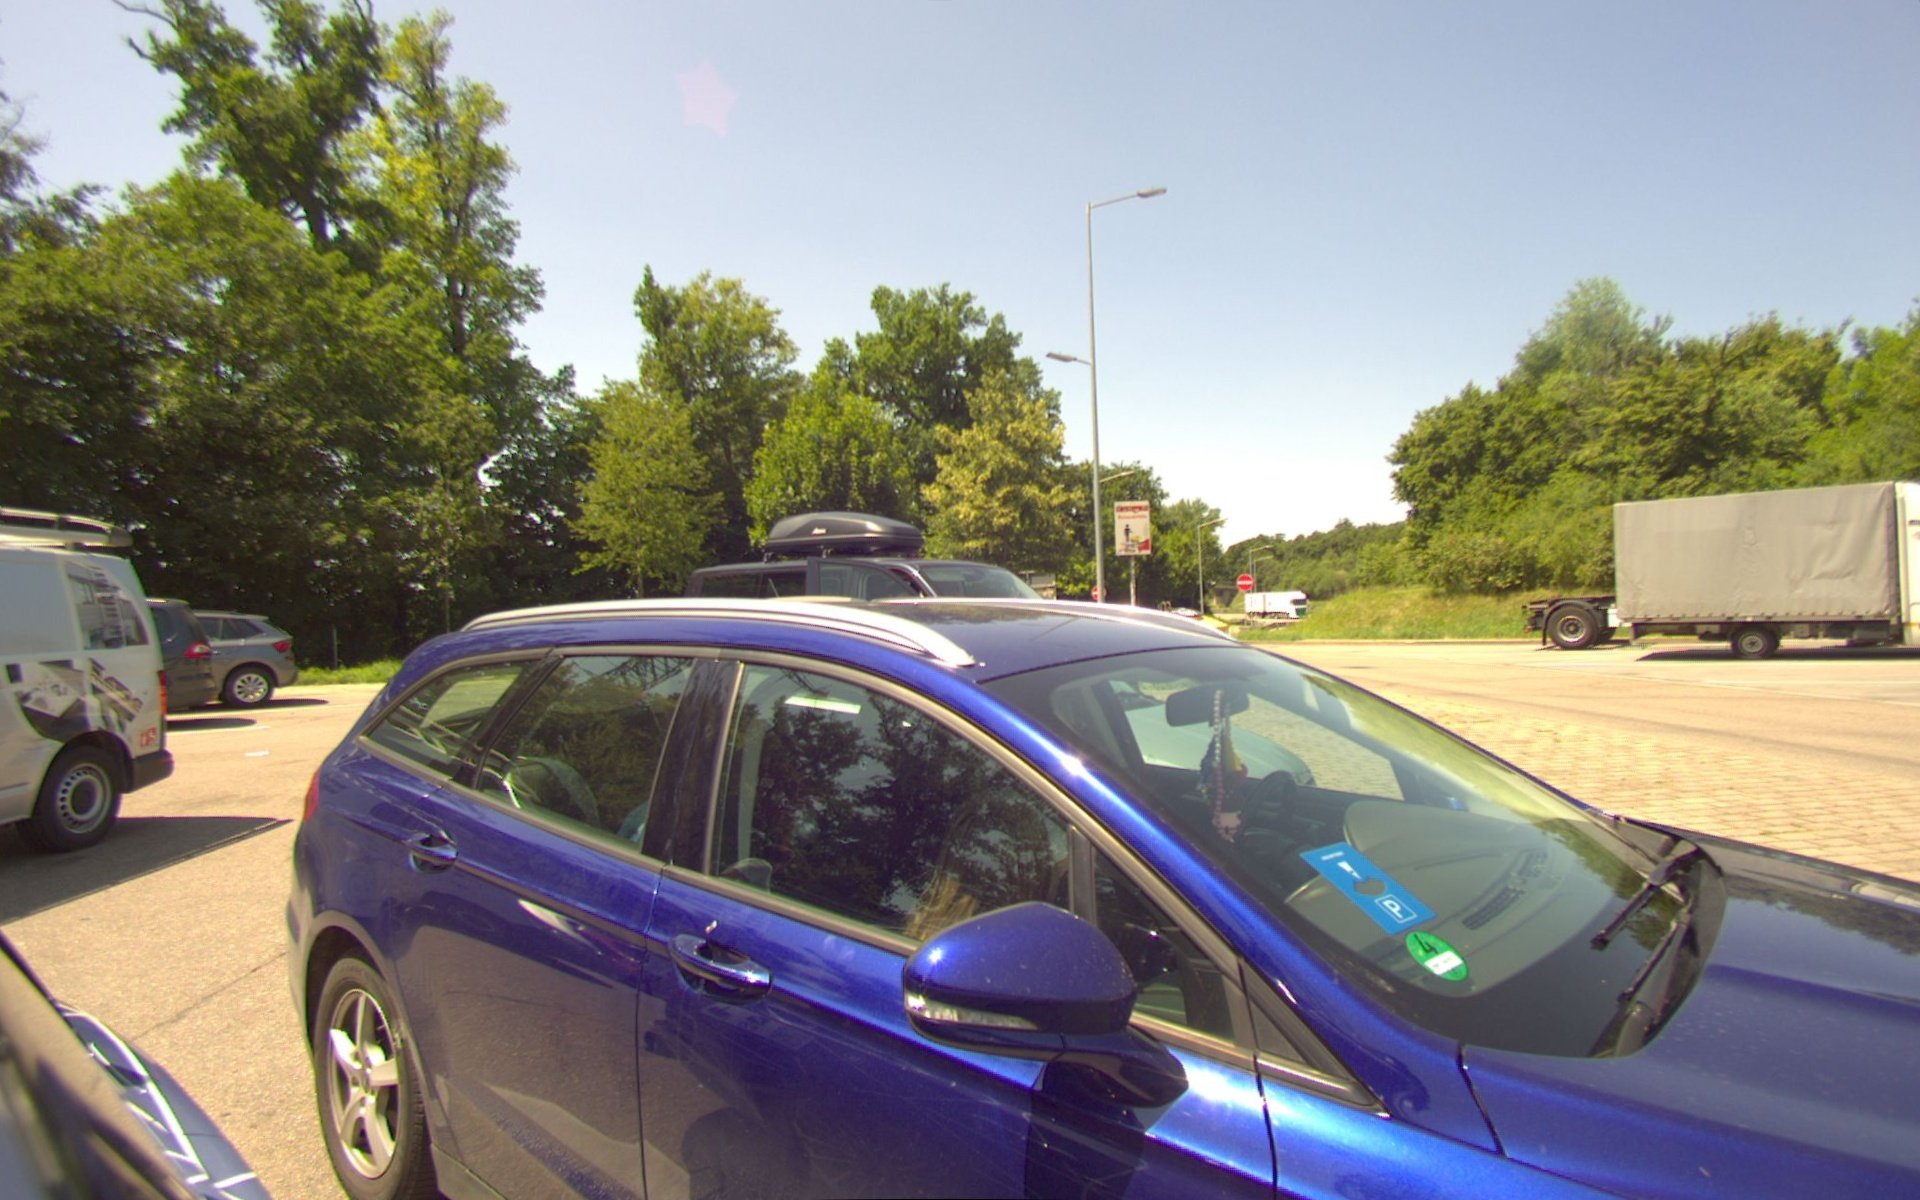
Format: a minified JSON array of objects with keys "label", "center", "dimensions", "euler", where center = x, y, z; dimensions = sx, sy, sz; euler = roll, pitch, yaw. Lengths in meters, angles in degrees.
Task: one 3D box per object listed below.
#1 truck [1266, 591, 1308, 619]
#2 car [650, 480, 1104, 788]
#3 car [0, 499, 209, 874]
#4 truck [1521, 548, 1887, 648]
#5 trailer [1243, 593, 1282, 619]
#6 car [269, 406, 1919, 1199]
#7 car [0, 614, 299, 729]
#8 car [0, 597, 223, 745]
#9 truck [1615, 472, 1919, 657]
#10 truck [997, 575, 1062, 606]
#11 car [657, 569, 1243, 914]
[{"label":"truck","center":[49.144,0.851,152.484],"dimensions":[2.543,4.045,8.564],"euler":[-1,-1,-7]},{"label":"car","center":[-0.891,0.318,9.577],"dimensions":[4.076,2.336,1.767],"euler":[-2,-1,35]},{"label":"car","center":[-6.251,0.476,4.731],"dimensions":[1.816,2.121,5.440],"euler":[0,-1,-5]},{"label":"truck","center":[17.008,0.051,23.564],"dimensions":[6.613,2.029,1.973],"euler":[-2,-1,41]},{"label":"trailer","center":[48.102,0.995,161.070],"dimensions":[2.543,3.981,8.719],"euler":[-1,-1,-7]},{"label":"car","center":[0.227,0.619,2.116],"dimensions":[4.411,1.429,1.721],"euler":[-2,-1,41]},{"label":"car","center":[-12.511,1.003,15.714],"dimensions":[3.535,1.513,1.708],"euler":[-1,0,-42]},{"label":"car","center":[-11.641,0.845,12.562],"dimensions":[1.755,1.701,3.798],"euler":[-2,-1,45]},{"label":"truck","center":[16.642,-0.597,18.756],"dimensions":[7.253,3.175,2.148],"euler":[-2,-1,41]},{"label":"truck","center":[3.348,-0.451,48.821],"dimensions":[2.866,1.386,1.158],"euler":[-2,-1,22]},{"label":"car","center":[-0.209,0.600,5.558],"dimensions":[3.112,1.370,1.326],"euler":[-2,-1,41]}]
